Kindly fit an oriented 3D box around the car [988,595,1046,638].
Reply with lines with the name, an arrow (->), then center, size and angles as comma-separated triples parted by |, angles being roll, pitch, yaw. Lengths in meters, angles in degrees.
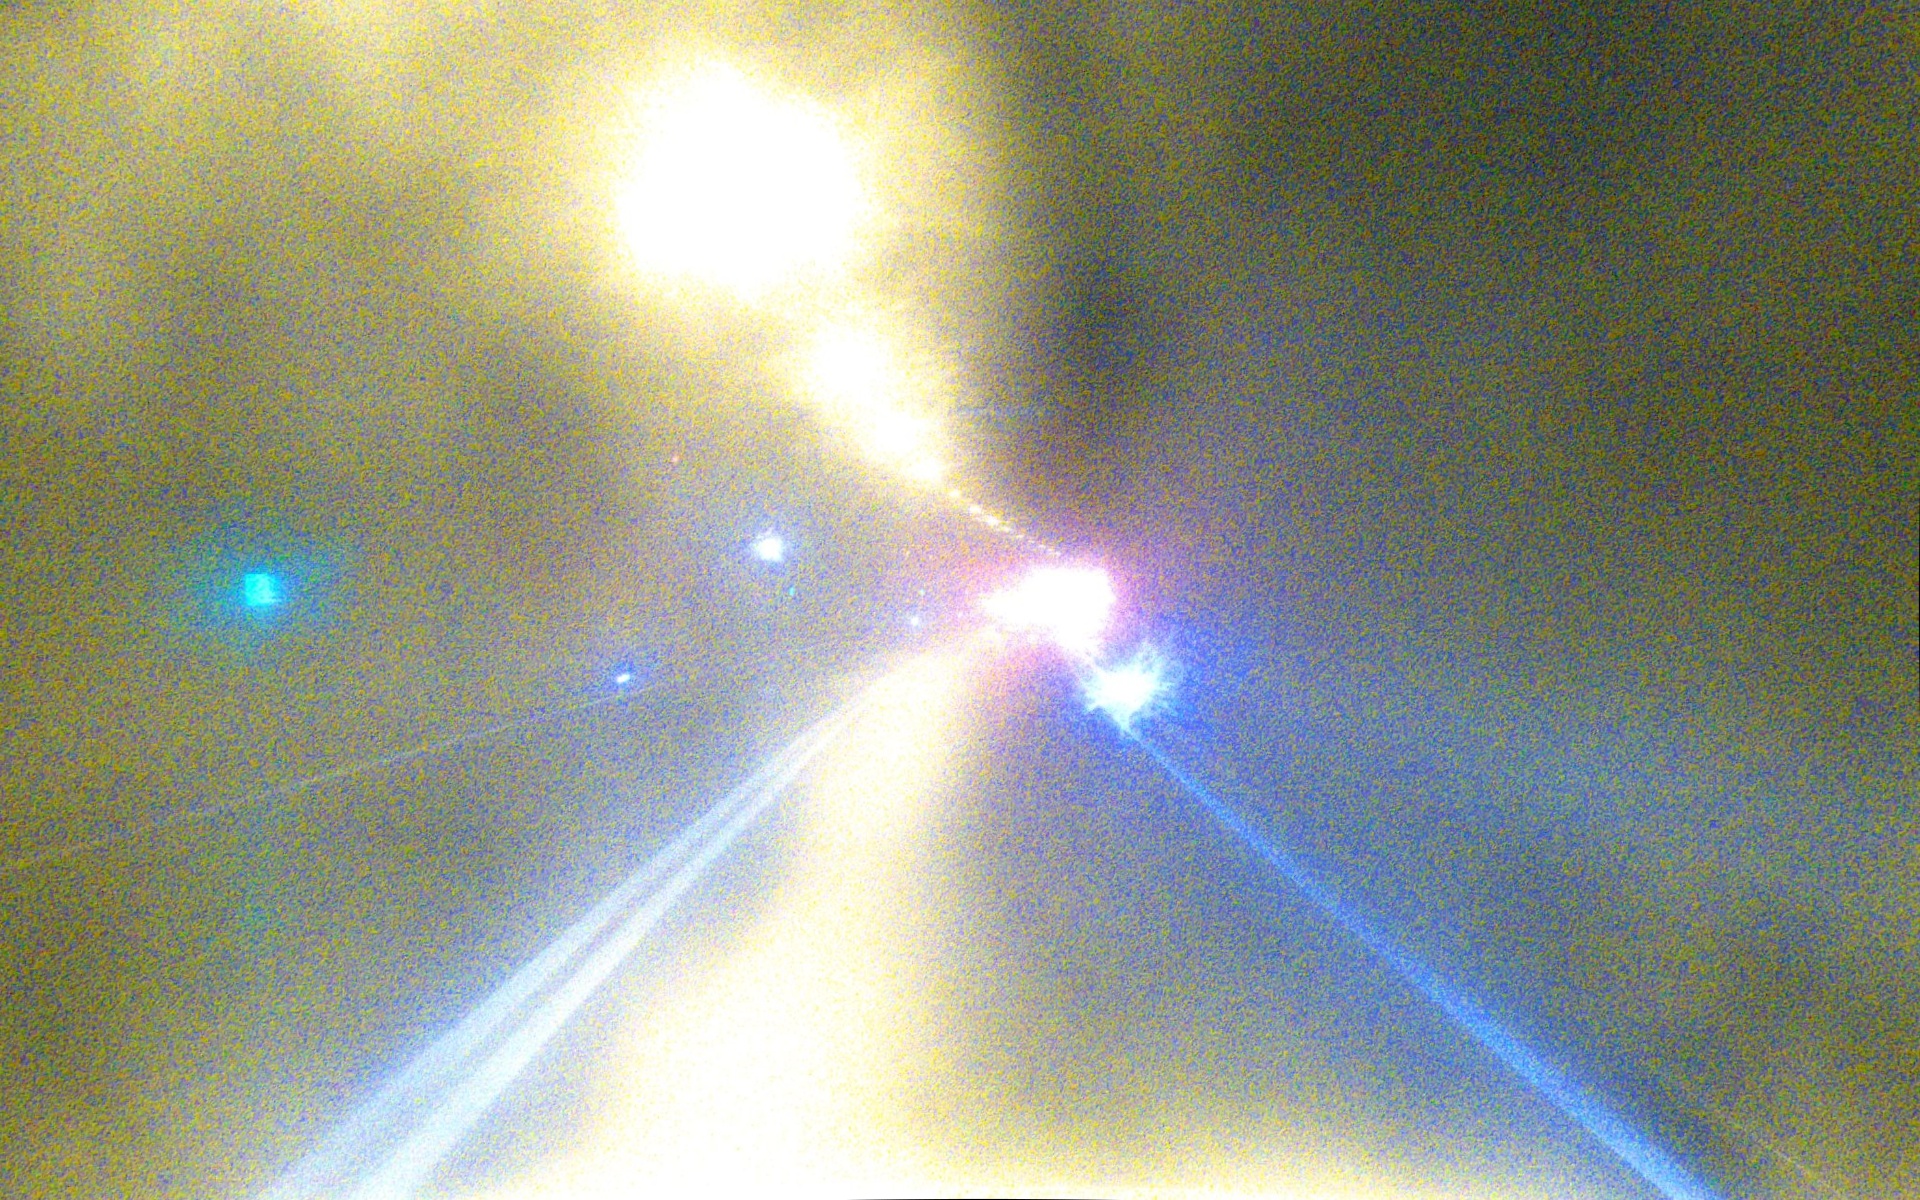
car -> 2.340, 0.646, 66.910 | 2.045, 1.691, 4.003 | 0, 0, 6
